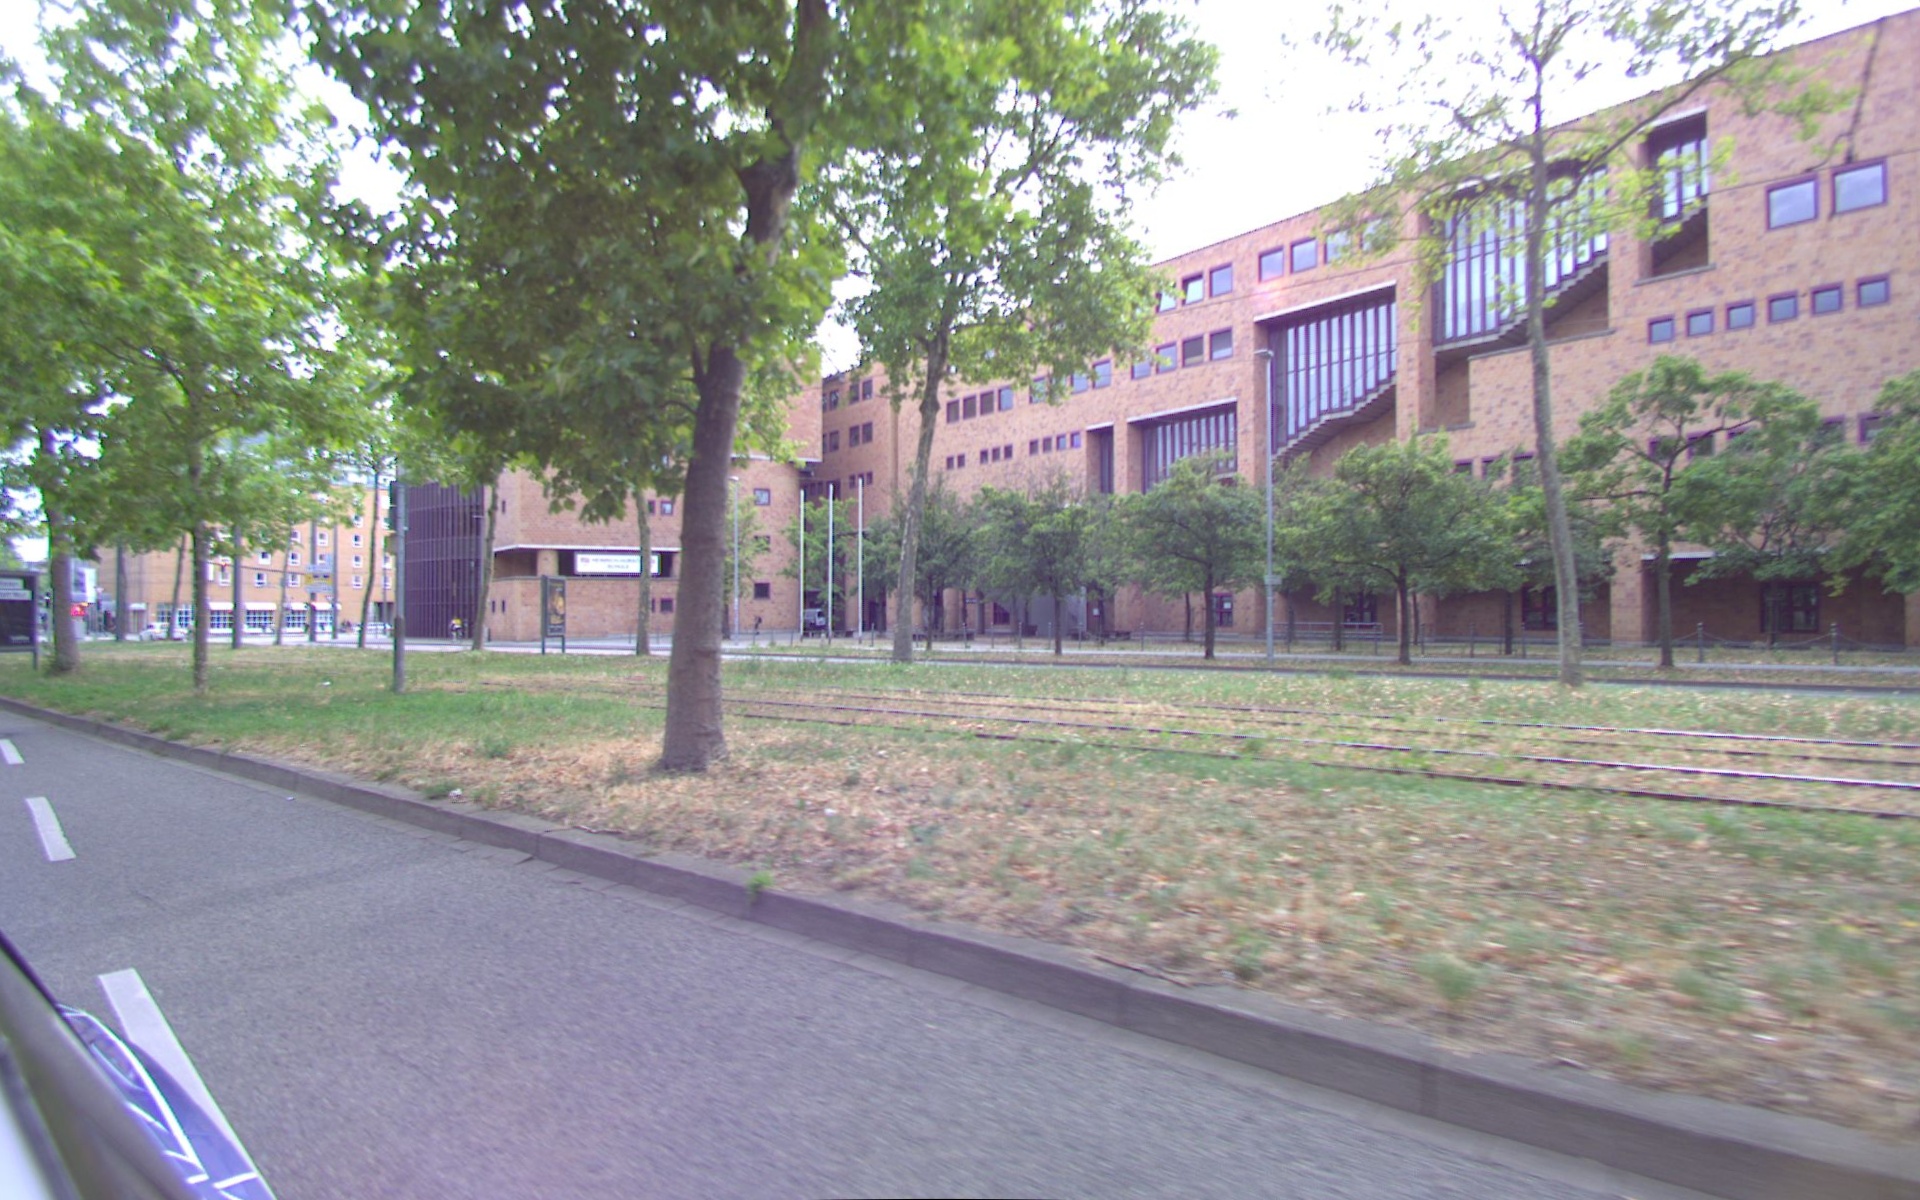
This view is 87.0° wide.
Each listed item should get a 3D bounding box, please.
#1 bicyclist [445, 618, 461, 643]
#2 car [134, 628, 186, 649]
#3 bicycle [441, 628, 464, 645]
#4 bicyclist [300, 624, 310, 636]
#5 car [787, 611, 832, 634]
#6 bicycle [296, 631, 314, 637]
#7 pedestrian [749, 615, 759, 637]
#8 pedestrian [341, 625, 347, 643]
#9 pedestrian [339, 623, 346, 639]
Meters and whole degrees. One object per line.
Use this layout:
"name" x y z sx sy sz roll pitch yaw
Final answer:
"bicyclist" -33.551 2.003 66.925 0.984 1.603 0.657 -2 -2 42
"car" -55.297 2.653 69.914 4.651 1.432 1.767 -2 -2 38
"bicycle" -33.564 2.391 66.935 2.093 1.092 0.661 -2 -2 42
"bicyclist" -81.639 3.703 126.085 0.635 1.512 0.855 -1 -1 37
"car" -12.505 1.875 83.903 1.869 1.821 4.007 0 -1 -39
"bicycle" -81.693 4.257 126.133 0.639 0.787 1.775 -1 -1 36
"pedestrian" -14.225 1.779 69.851 0.500 1.543 0.521 0 -2 -36
"pedestrian" -72.143 3.960 118.498 0.516 2.029 0.447 0 -2 -37
"pedestrian" -66.270 3.355 108.600 0.542 1.745 0.534 -2 -2 37
